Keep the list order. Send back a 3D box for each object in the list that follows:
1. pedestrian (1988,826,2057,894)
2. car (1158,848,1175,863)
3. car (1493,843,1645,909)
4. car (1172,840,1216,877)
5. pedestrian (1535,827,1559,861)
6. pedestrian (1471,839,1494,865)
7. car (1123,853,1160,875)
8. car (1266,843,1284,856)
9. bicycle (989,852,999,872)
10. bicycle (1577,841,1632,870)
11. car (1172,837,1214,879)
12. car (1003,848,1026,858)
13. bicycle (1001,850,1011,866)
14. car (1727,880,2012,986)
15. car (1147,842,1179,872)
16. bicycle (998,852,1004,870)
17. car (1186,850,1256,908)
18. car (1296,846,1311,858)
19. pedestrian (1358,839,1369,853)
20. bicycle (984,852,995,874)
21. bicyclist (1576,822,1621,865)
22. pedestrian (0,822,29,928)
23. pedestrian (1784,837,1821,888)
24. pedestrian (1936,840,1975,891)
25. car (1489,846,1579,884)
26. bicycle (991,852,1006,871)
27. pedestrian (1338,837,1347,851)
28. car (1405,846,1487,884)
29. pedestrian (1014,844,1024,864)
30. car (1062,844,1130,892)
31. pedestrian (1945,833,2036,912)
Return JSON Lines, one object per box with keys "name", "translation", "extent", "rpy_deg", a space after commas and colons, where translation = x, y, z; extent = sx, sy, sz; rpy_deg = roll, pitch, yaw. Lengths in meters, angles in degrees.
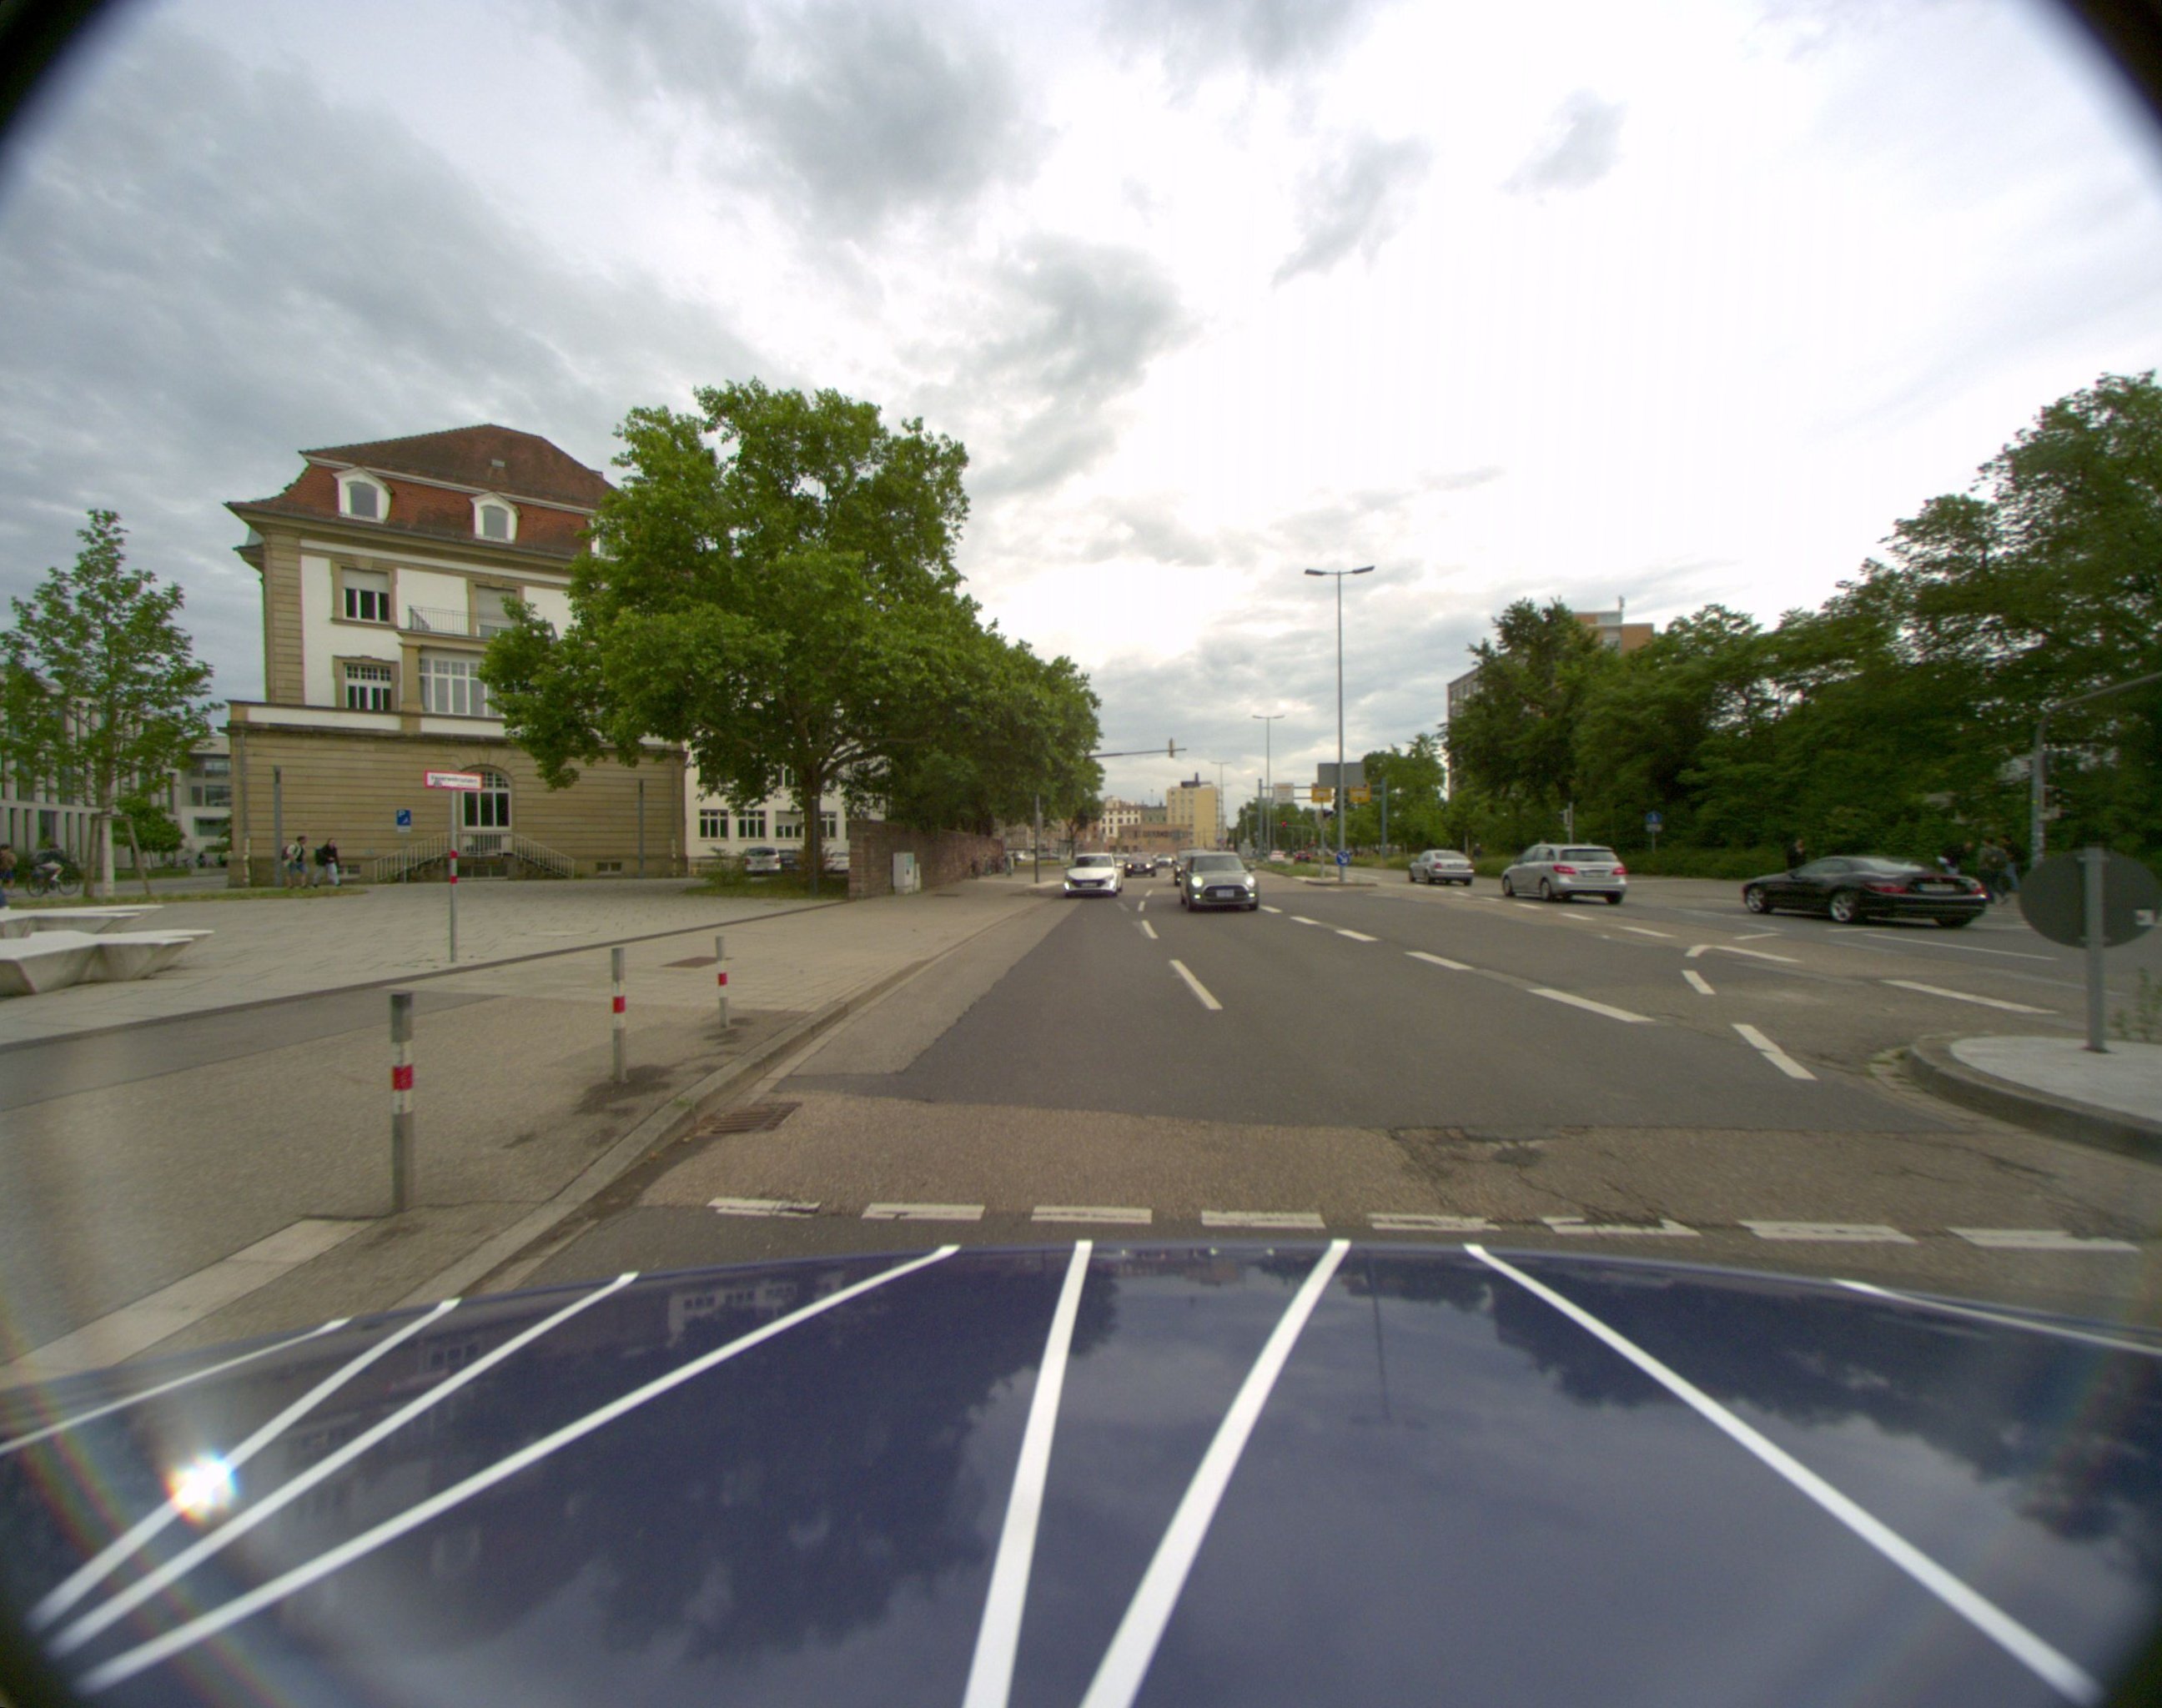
{"name": "pedestrian", "translation": [28.829, 0.163, 23.281], "extent": [1.043, 2.002, 1.098], "rpy_deg": [-3, 1, -26]}
{"name": "car", "translation": [8.473, 0.141, 75.136], "extent": [1.605, 1.360, 3.580], "rpy_deg": [0, 1, 7]}
{"name": "car", "translation": [13.183, 0.537, 20.888], "extent": [1.960, 1.575, 4.259], "rpy_deg": [1, 0, 9]}
{"name": "car", "translation": [4.792, 0.151, 32.186], "extent": [1.731, 1.450, 4.002], "rpy_deg": [0, 1, 9]}
{"name": "pedestrian", "translation": [28.250, -0.617, 46.042], "extent": [0.908, 2.002, 0.823], "rpy_deg": [-4, 1, 13]}
{"name": "pedestrian", "translation": [25.814, -0.128, 48.865], "extent": [0.990, 1.616, 0.814], "rpy_deg": [-2, 1, 6]}
{"name": "car", "translation": [3.521, 0.567, 44.023], "extent": [1.702, 1.182, 2.832], "rpy_deg": [-2, 1, 13]}
{"name": "car", "translation": [26.566, -0.637, 104.040], "extent": [1.892, 1.763, 4.002], "rpy_deg": [-2, 1, 8]}
{"name": "bicycle", "translation": [-5.222, 0.474, 45.321], "extent": [0.386, 1.137, 1.940], "rpy_deg": [-2, 1, -11]}
{"name": "bicycle", "translation": [25.161, 0.068, 36.557], "extent": [0.607, 1.325, 2.308], "rpy_deg": [-2, 1, -14]}
{"name": "car", "translation": [5.736, 0.164, 38.880], "extent": [1.997, 2.002, 4.002], "rpy_deg": [0, 1, 9]}
{"name": "car", "translation": [-12.432, -0.237, 141.646], "extent": [3.996, 1.760, 2.000], "rpy_deg": [0, 1, 3]}
{"name": "bicycle", "translation": [-5.273, 0.277, 53.638], "extent": [0.478, 1.070, 2.083], "rpy_deg": [0, 1, 2]}
{"name": "car", "translation": [15.256, 1.424, 15.100], "extent": [1.997, 1.610, 4.003], "rpy_deg": [0, 1, 11]}
{"name": "car", "translation": [5.709, 0.173, 52.612], "extent": [1.997, 2.002, 4.002], "rpy_deg": [0, 1, 9]}
{"name": "bicycle", "translation": [-5.098, 0.448, 48.450], "extent": [0.339, 1.137, 1.940], "rpy_deg": [-2, 1, -7]}
{"name": "car", "translation": [3.549, 0.569, 19.588], "extent": [1.624, 1.310, 3.707], "rpy_deg": [0, 1, 9]}
{"name": "car", "translation": [30.024, -0.348, 102.768], "extent": [1.852, 1.543, 4.004], "rpy_deg": [-1, 1, 15]}
{"name": "pedestrian", "translation": [37.881, -1.069, 101.875], "extent": [1.136, 1.908, 1.163], "rpy_deg": [-2, 1, 12]}
{"name": "bicycle", "translation": [-5.078, 0.491, 42.148], "extent": [0.386, 1.137, 1.940], "rpy_deg": [-2, 1, -11]}
{"name": "bicyclist", "translation": [24.917, -0.487, 36.624], "extent": [1.185, 2.002, 1.280], "rpy_deg": [-2, 1, -14]}
{"name": "pedestrian", "translation": [-20.251, 0.390, 14.022], "extent": [0.655, 1.948, 0.686], "rpy_deg": [0, 1, -14]}
{"name": "pedestrian", "translation": [23.819, 0.271, 25.097], "extent": [0.590, 1.685, 0.653], "rpy_deg": [0, 1, 8]}
{"name": "pedestrian", "translation": [28.087, 0.357, 24.410], "extent": [0.503, 1.597, 0.602], "rpy_deg": [0, 1, -5]}
{"name": "car", "translation": [18.169, 0.396, 30.652], "extent": [1.856, 1.455, 3.699], "rpy_deg": [0, 1, 9]}
{"name": "bicycle", "translation": [-5.102, 0.459, 46.818], "extent": [0.386, 1.137, 1.938], "rpy_deg": [-2, 1, -22]}
{"name": "pedestrian", "translation": [37.491, -1.378, 108.902], "extent": [0.881, 2.002, 1.221], "rpy_deg": [-2, 1, 1]}
{"name": "car", "translation": [15.247, 0.406, 31.973], "extent": [1.997, 1.520, 4.276], "rpy_deg": [0, 1, 10]}
{"name": "pedestrian", "translation": [-6.178, 0.006, 75.424], "extent": [0.784, 2.002, 0.887], "rpy_deg": [0, 1, -17]}
{"name": "car", "translation": [0.585, 0.427, 26.130], "extent": [1.812, 1.533, 4.002], "rpy_deg": [0, 1, 9]}
{"name": "pedestrian", "translation": [24.263, 0.474, 20.293], "extent": [1.185, 2.002, 1.140], "rpy_deg": [-2, 1, -14]}
